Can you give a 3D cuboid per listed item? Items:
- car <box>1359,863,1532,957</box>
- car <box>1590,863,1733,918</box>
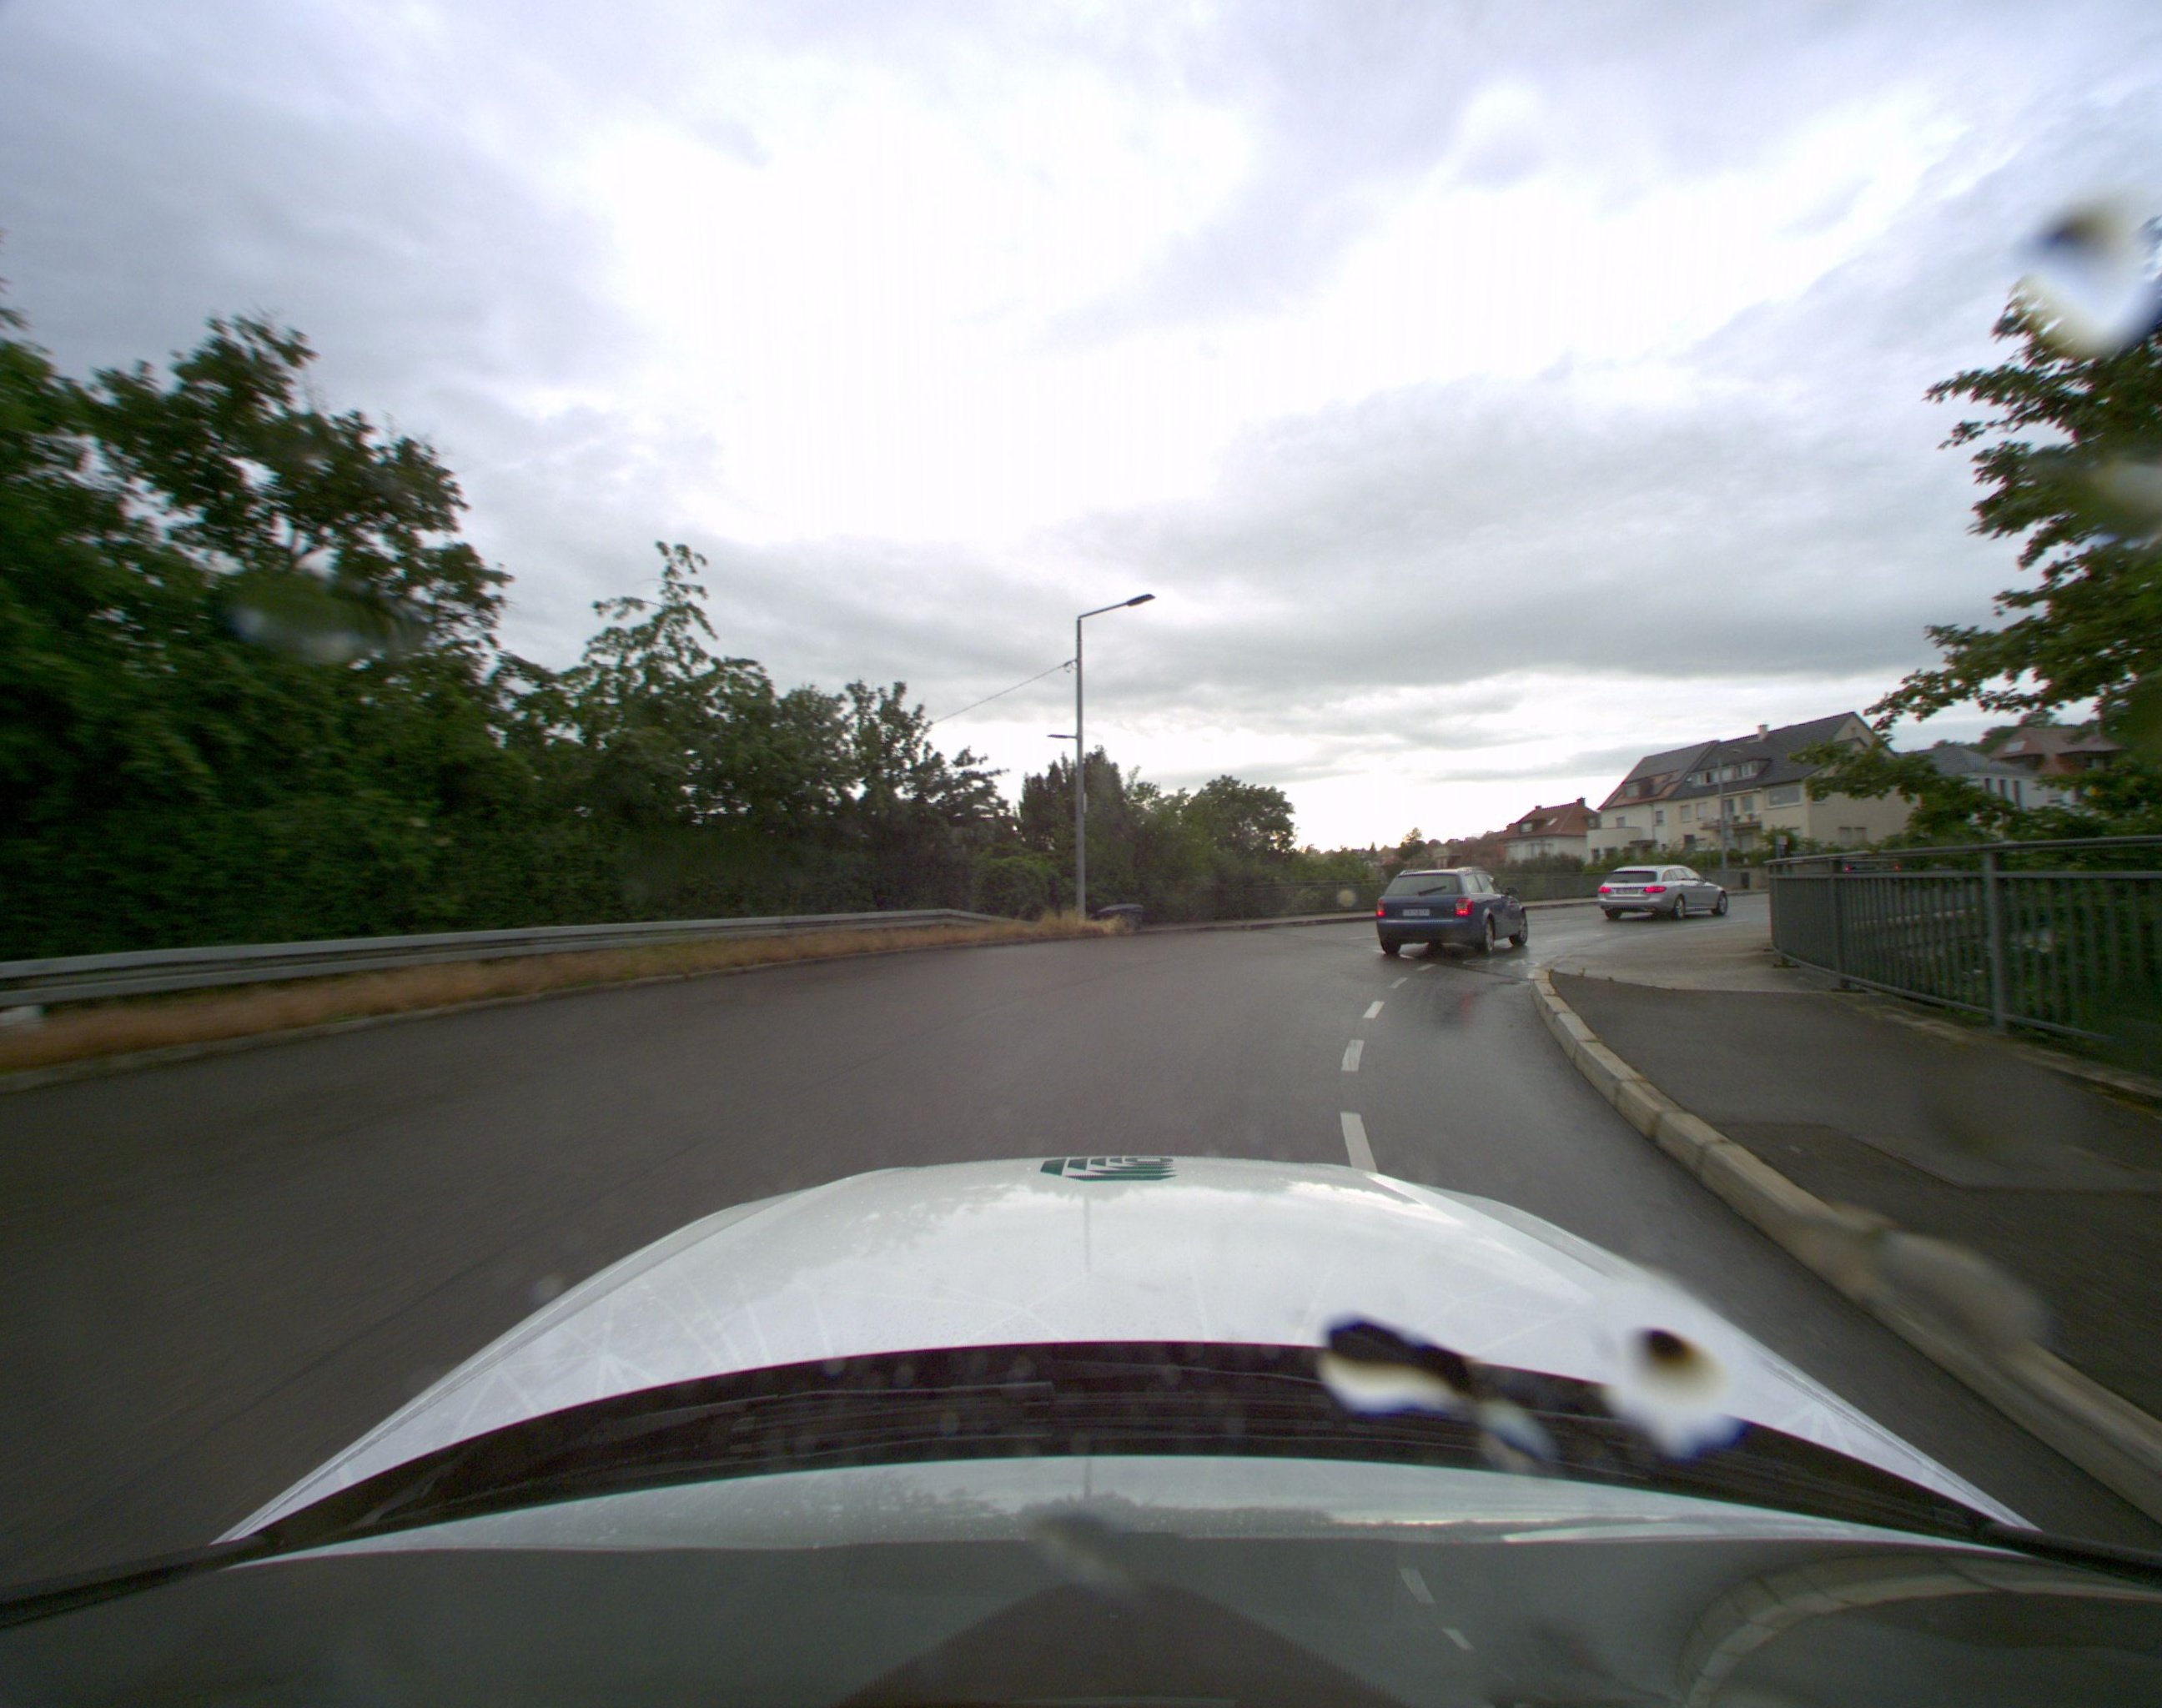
[{"bbox_3d":[6.562,0.879,14.440,1.730,1.407,4.025,-1,-1,40],"label":"car"},{"bbox_3d":[16.049,0.943,22.492,4.015,1.389,1.877,1,-1,-33],"label":"car"}]
